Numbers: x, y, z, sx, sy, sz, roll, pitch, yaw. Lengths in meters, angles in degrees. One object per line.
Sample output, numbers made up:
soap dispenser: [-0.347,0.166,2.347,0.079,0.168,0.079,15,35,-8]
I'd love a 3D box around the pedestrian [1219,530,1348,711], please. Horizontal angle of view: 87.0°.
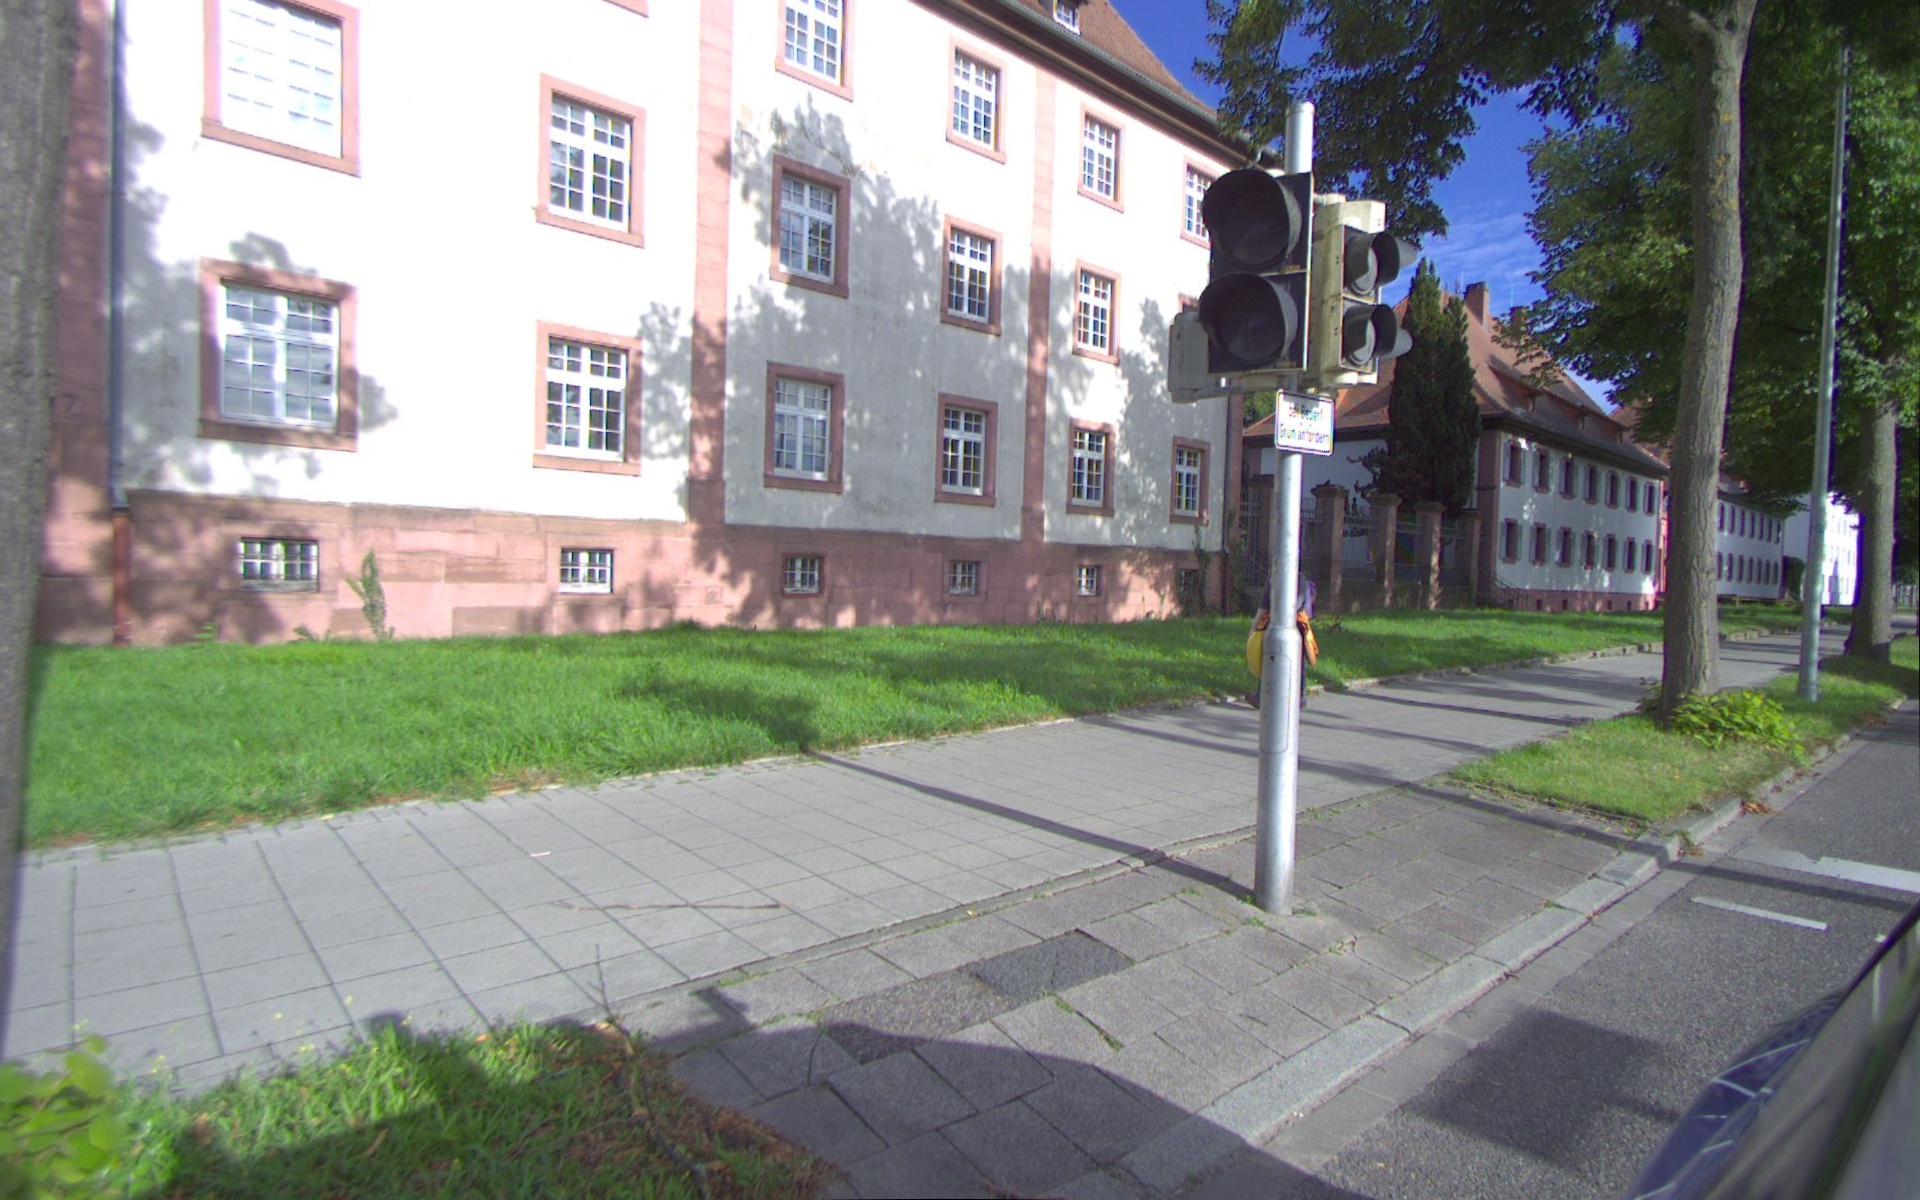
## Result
pedestrian: [3.093,0.163,9.694,0.756,1.609,0.815,0,5,-42]
